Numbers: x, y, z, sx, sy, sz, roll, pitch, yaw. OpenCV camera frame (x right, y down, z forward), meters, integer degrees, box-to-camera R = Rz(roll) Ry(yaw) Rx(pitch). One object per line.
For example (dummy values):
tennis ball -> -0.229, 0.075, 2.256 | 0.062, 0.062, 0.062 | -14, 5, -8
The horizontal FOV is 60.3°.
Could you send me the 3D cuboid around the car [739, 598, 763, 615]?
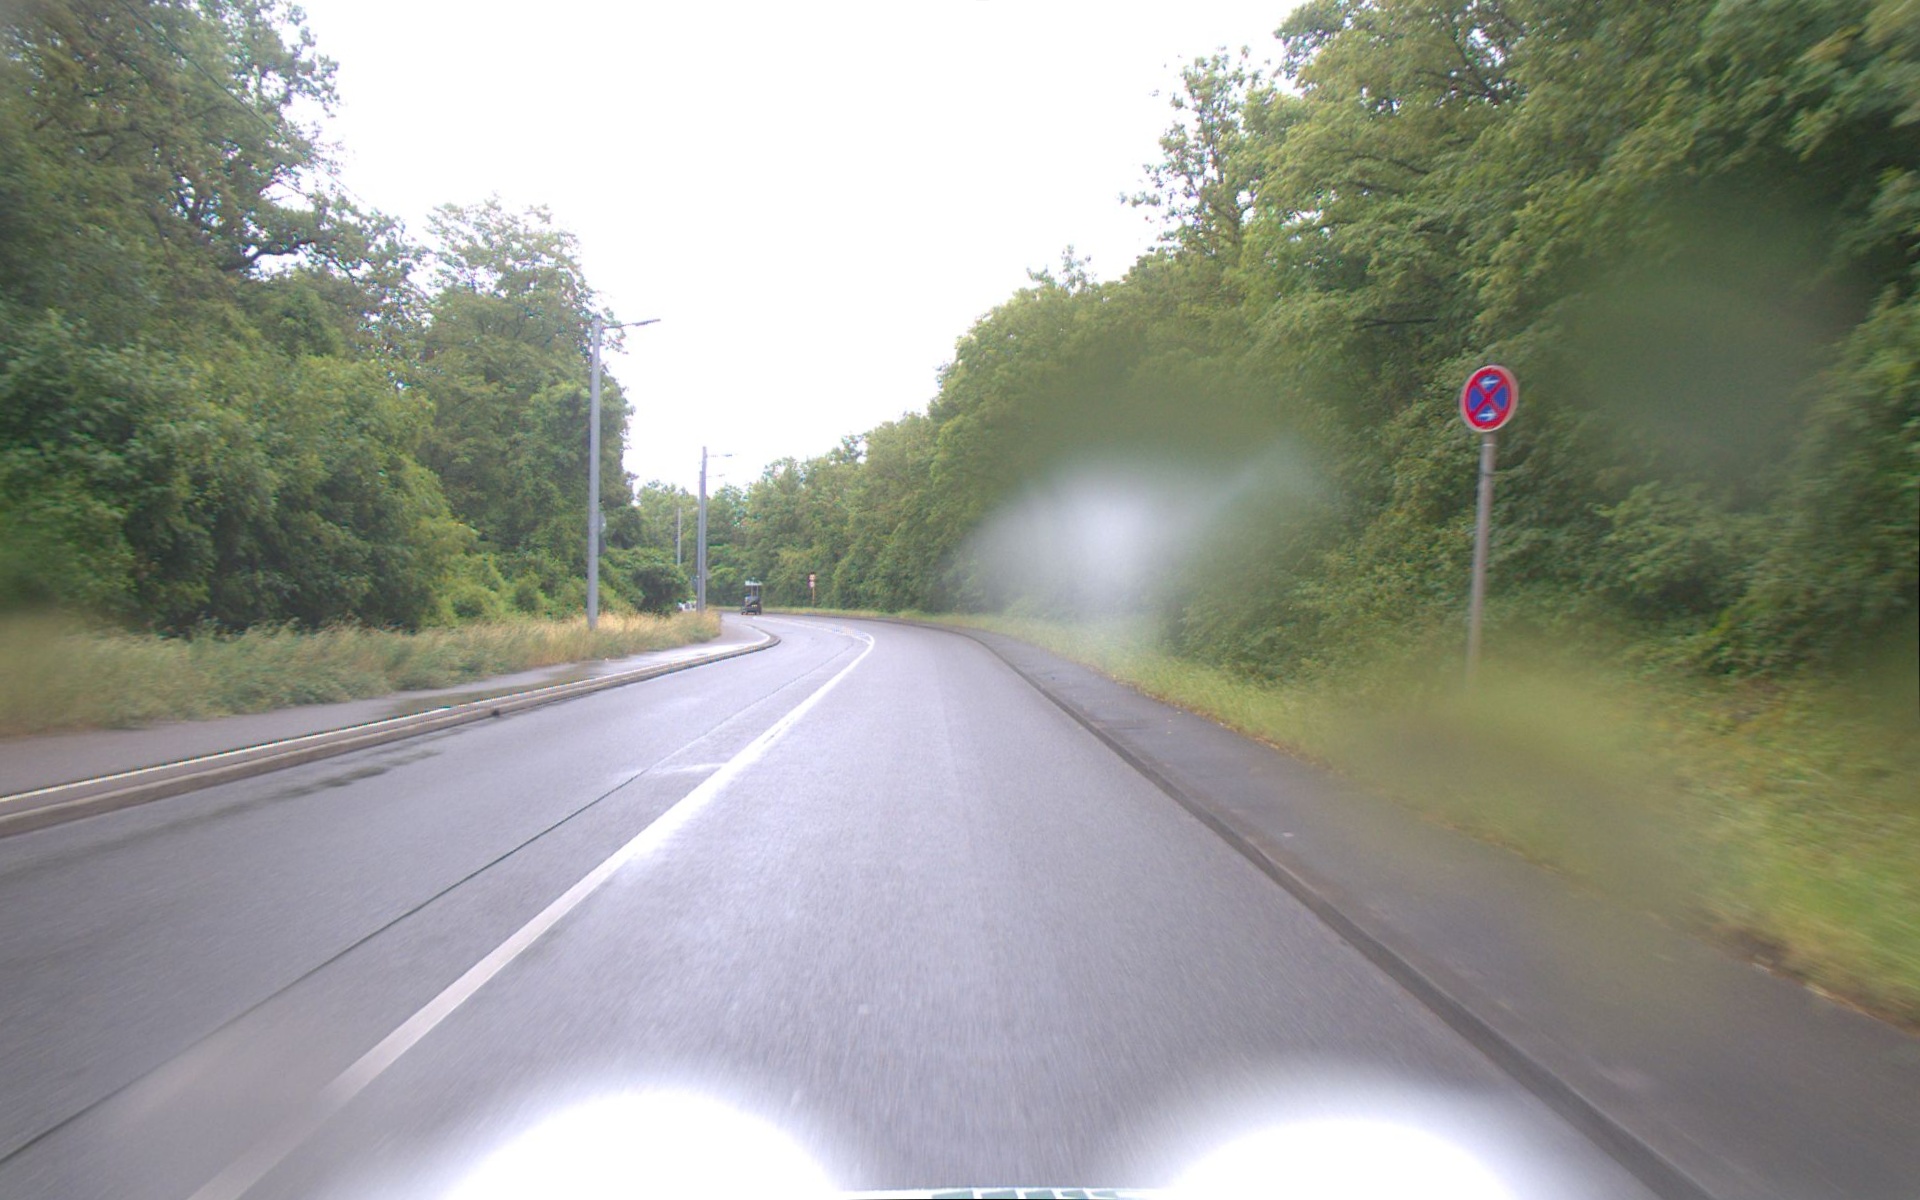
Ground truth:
car -> -21.439, 0.652, 169.630 | 1.837, 1.623, 3.985 | 5, -1, -15
